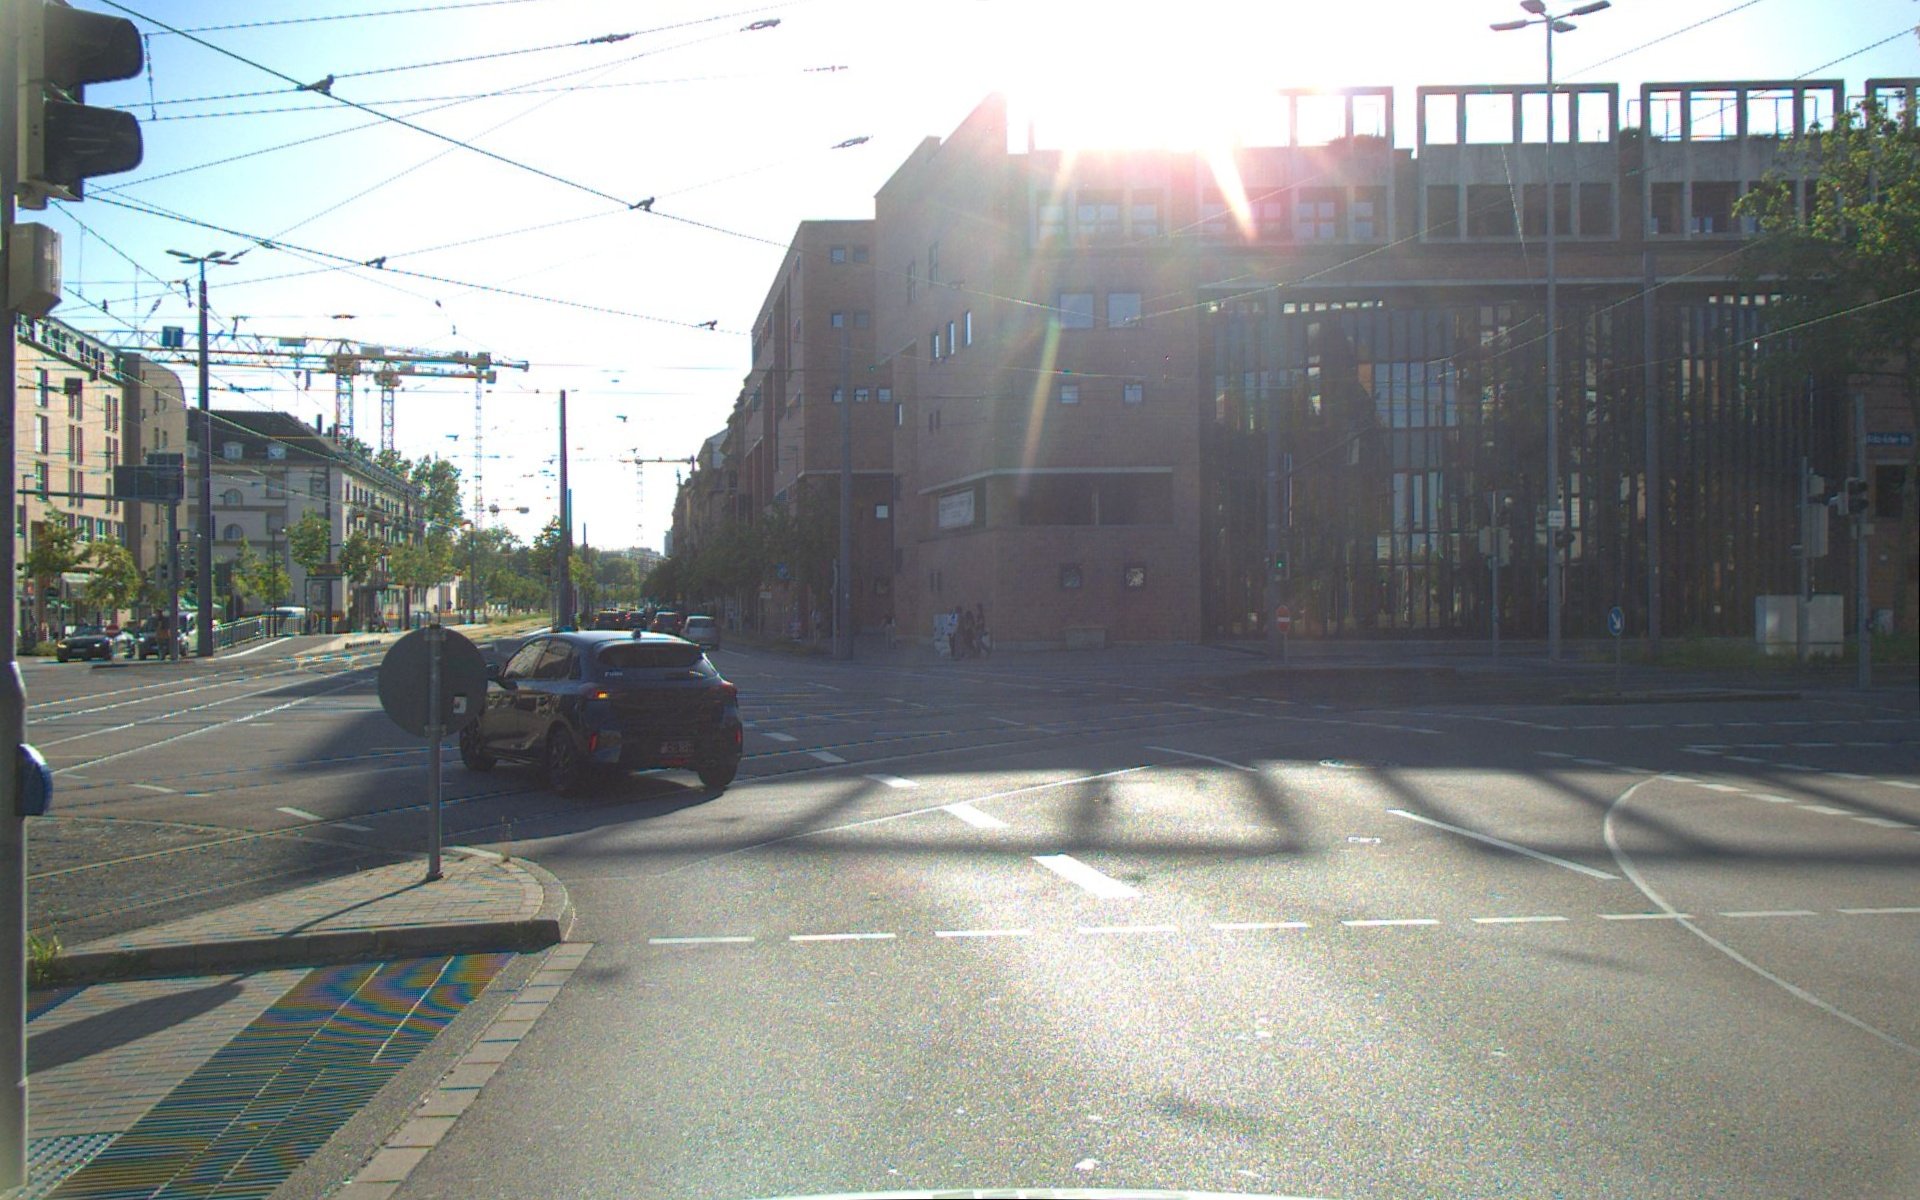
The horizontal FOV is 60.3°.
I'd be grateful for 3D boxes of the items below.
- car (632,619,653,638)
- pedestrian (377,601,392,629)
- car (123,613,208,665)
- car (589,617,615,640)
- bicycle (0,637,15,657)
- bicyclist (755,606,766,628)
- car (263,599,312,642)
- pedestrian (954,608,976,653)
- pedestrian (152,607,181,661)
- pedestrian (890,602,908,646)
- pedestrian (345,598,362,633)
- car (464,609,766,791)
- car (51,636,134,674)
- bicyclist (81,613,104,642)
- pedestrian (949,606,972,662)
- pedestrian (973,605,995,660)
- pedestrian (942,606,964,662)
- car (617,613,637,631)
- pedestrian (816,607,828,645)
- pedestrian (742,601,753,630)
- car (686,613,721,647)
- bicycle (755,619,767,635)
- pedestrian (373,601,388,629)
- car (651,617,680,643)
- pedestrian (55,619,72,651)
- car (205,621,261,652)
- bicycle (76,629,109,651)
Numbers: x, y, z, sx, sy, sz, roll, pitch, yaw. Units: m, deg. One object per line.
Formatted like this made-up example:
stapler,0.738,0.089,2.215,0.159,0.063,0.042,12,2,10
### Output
car,-26.100,2.292,136.017,1.690,1.479,3.687,-1,0,-11
pedestrian,-34.870,0.918,100.201,0.849,1.699,0.732,0,0,-22
car,-30.842,1.498,64.322,1.805,1.868,4.099,-2,0,-9
car,-25.267,1.998,116.835,1.690,1.479,3.687,-1,0,-11
bicycle,-46.174,2.239,78.829,1.992,0.937,0.483,-1,0,-2
bicyclist,-12.219,1.030,101.499,0.634,1.363,0.651,-1,-1,-10
car,-51.763,1.528,127.466,2.337,3.051,8.439,-1,1,-14
pedestrian,0.175,1.045,56.454,0.541,1.503,0.568,-1,0,-29
pedestrian,-26.344,1.130,54.941,0.708,1.757,0.593,-1,0,-11
pedestrian,-2.563,0.986,69.447,0.628,1.817,0.687,-1,0,-9
pedestrian,-33.720,0.842,91.919,0.849,1.919,0.732,0,0,-22
car,-3.442,0.879,16.047,1.656,1.528,3.648,2,-1,-33
car,-33.797,2.126,64.560,1.808,1.290,4.215,-2,0,-13
bicyclist,-42.925,1.360,81.854,0.796,1.401,0.922,-1,0,-13
pedestrian,0.007,1.114,54.169,0.563,1.817,0.546,-1,0,-20
pedestrian,0.813,1.091,55.583,0.563,1.817,0.546,-1,0,-20
pedestrian,-0.239,1.126,54.907,0.563,1.817,0.546,-1,0,-20
car,-29.452,1.935,146.305,1.690,1.479,3.687,-1,0,-11
pedestrian,-6.811,1.283,81.660,0.537,1.817,0.572,0,2,-9
pedestrian,-13.430,0.991,104.715,0.629,1.817,0.687,-1,0,-11
car,-11.614,1.343,74.725,1.531,1.481,3.424,0,0,-9
bicycle,-12.212,1.651,101.512,0.636,0.920,2.340,0,0,-10
pedestrian,-35.291,0.931,100.772,0.849,1.699,0.779,0,0,-22
car,-18.050,1.824,101.259,1.641,1.479,3.687,-1,0,-11
pedestrian,-51.228,1.972,94.504,0.703,1.795,0.564,-2,0,-9
car,-37.970,1.894,86.495,1.807,1.473,4.284,-2,0,-13
bicycle,-42.924,1.981,81.886,0.796,1.008,2.501,-1,0,-13
